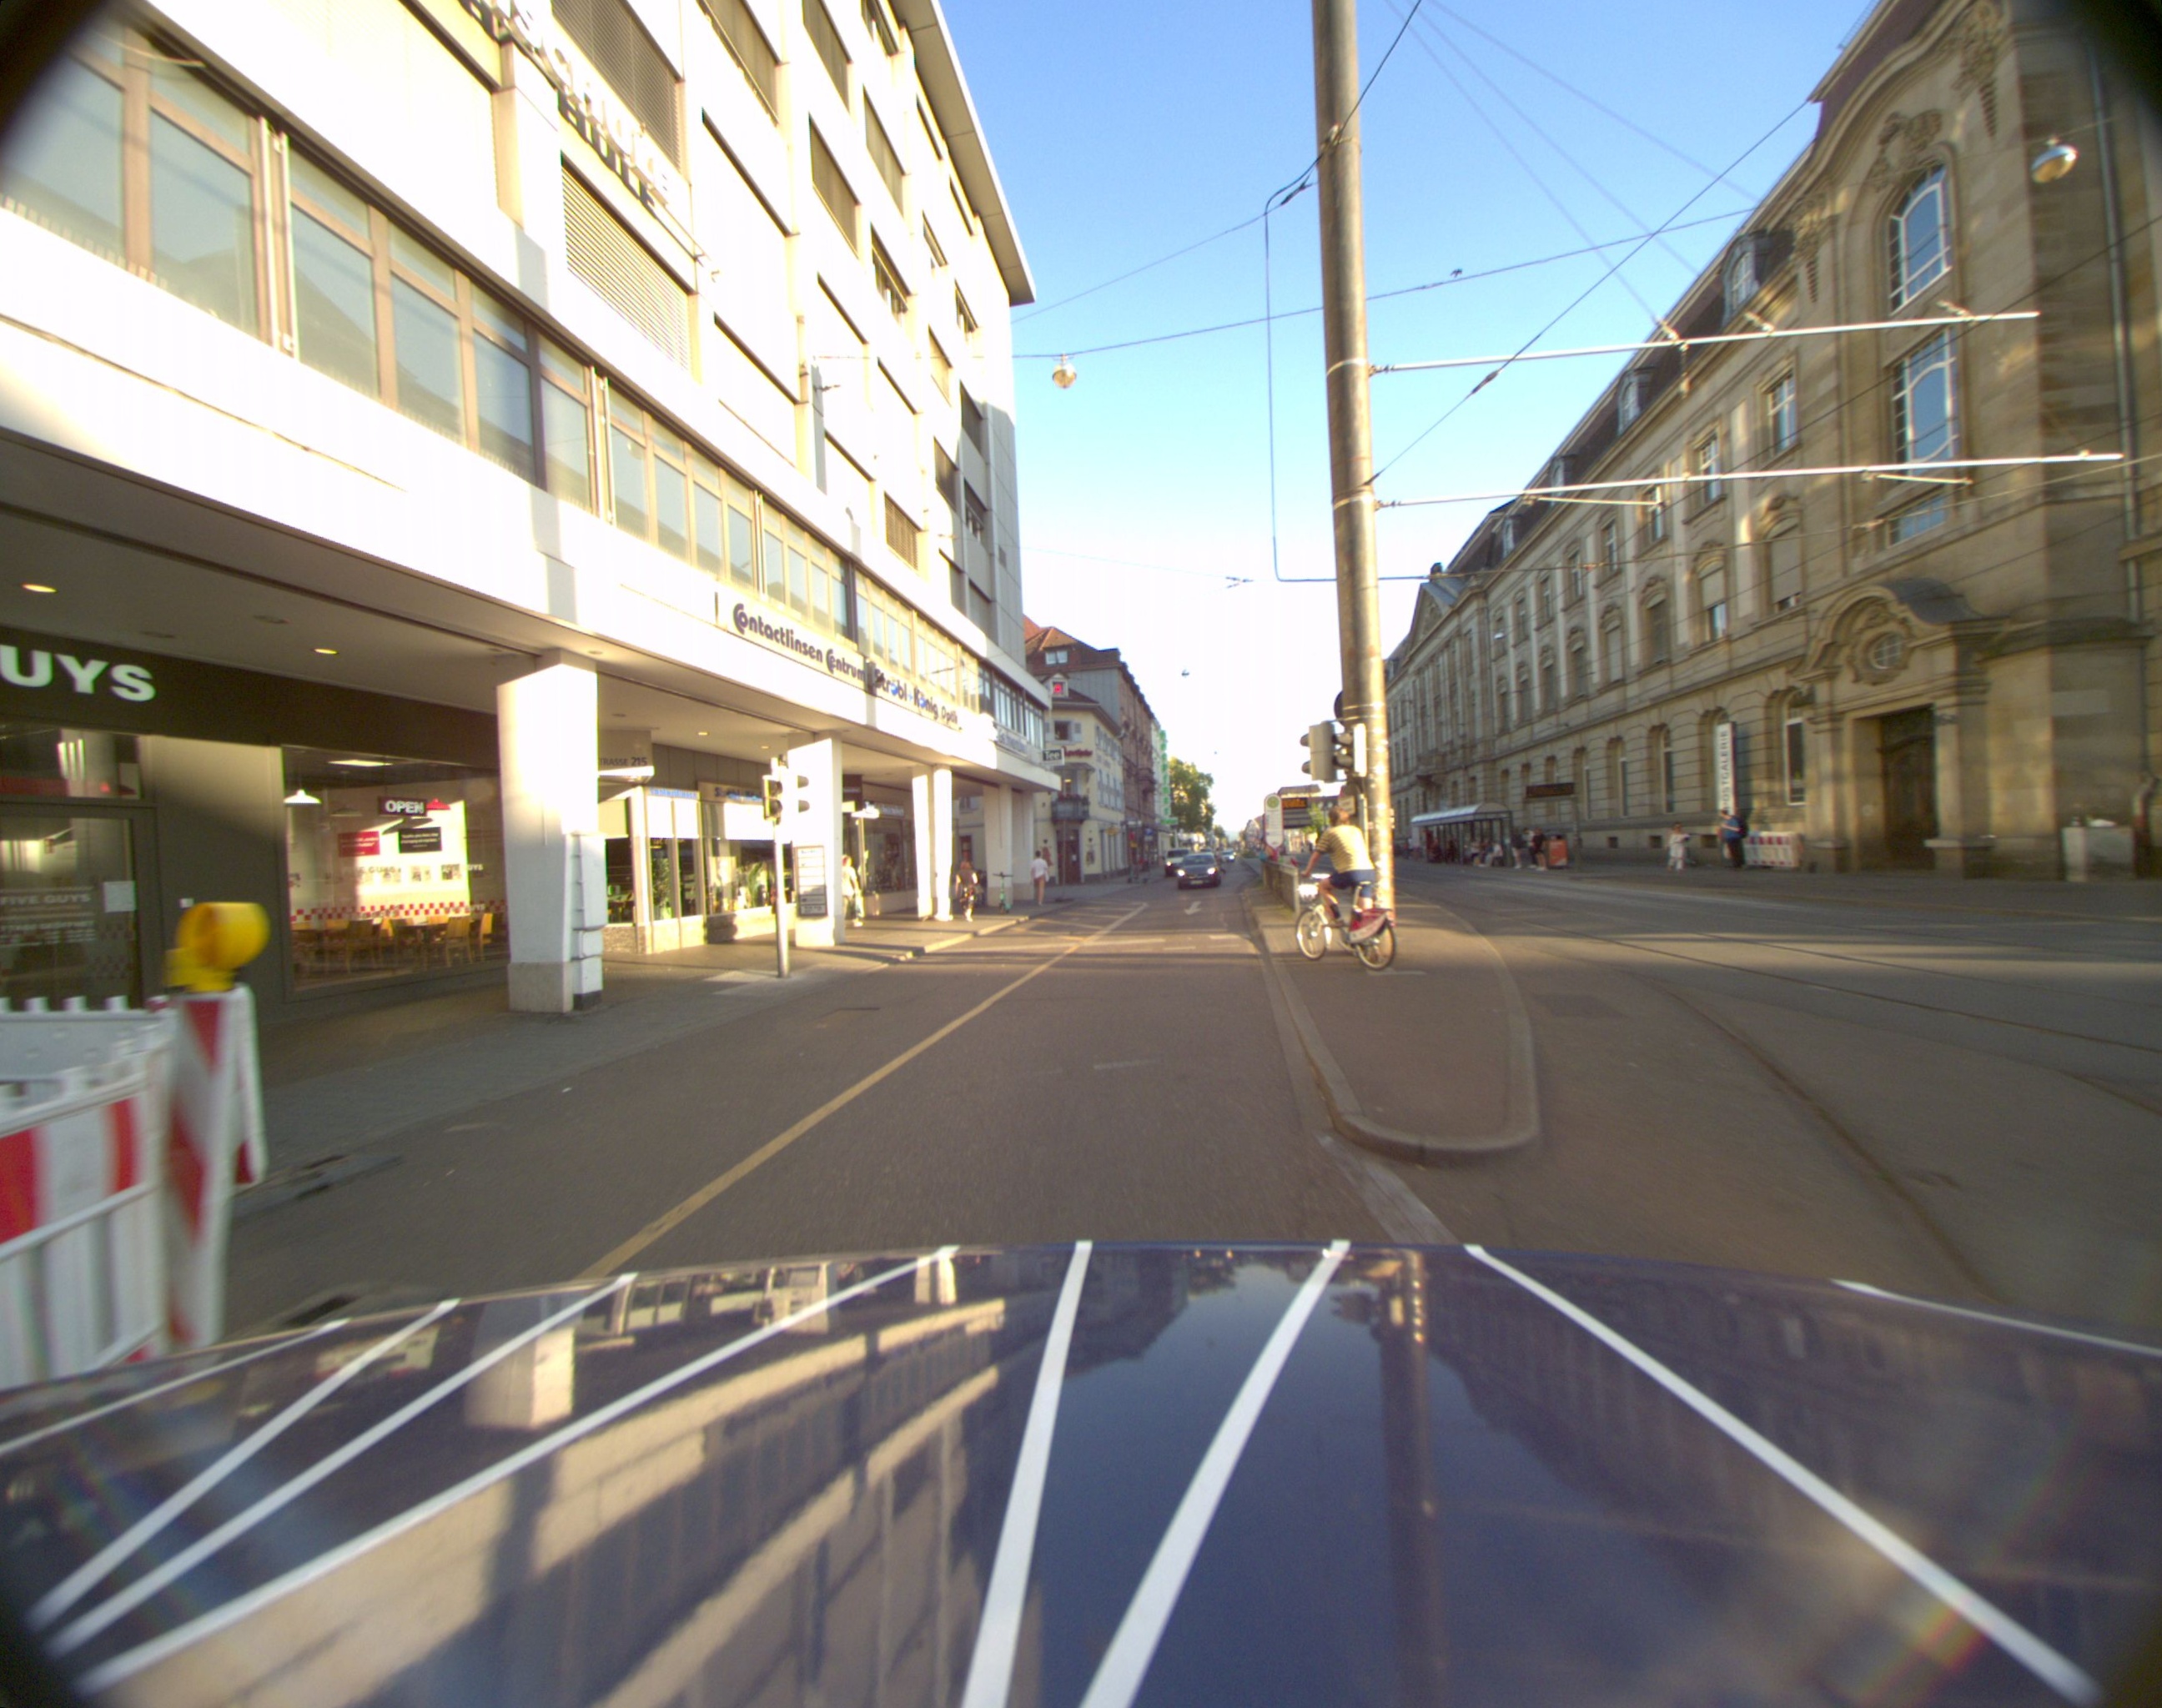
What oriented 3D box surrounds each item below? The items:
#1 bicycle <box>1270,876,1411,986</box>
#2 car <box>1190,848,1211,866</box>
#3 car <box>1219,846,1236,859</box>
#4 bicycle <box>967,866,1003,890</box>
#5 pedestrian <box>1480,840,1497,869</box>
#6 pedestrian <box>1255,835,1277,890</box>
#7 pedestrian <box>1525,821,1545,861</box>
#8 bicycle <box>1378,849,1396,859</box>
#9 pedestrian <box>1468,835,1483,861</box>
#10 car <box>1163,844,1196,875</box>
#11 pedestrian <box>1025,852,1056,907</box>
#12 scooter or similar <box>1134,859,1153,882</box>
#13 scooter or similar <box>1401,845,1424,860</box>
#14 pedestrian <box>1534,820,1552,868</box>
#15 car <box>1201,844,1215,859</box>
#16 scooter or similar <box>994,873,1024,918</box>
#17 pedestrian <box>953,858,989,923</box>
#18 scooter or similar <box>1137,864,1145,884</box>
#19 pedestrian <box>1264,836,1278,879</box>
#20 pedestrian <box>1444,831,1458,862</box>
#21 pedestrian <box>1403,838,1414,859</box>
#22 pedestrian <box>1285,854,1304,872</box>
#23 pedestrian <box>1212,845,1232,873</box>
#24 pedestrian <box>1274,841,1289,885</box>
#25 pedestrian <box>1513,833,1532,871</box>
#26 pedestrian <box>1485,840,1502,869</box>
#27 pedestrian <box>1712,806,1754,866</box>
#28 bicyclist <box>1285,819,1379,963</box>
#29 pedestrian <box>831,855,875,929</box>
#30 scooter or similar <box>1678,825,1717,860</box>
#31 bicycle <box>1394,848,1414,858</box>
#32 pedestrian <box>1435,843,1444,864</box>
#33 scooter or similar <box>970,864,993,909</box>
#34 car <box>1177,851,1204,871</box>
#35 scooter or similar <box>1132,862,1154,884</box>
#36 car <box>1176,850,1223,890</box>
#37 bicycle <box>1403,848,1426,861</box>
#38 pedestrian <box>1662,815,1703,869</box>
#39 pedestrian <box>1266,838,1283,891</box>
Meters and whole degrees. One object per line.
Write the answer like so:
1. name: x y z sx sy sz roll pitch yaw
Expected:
1. bicycle: 2.988 0.840 8.923 0.630 1.097 1.622 -3 1 -22
2. car: 11.712 0.275 74.470 1.735 1.502 4.868 -5 0 11
3. car: 18.099 -0.200 93.849 1.809 1.474 4.287 -5 -1 11
4. bicycle: -5.362 1.333 42.555 0.770 1.174 1.850 -4 0 42
5. pedestrian: 19.303 0.015 35.976 0.518 1.320 0.638 -3 1 15
6. pedestrian: 6.111 0.272 25.089 0.540 1.757 0.595 -4 1 16
7. pedestrian: 19.401 -0.553 32.489 0.518 1.636 0.638 -3 1 15
8. bicycle: 30.222 -0.024 75.087 1.578 0.868 0.451 -4 0 16
9. pedestrian: 20.249 -0.302 38.989 0.518 1.320 0.638 -3 1 15
10. car: 7.034 0.358 54.001 1.880 1.912 4.703 -5 0 11
11. pedestrian: -1.386 0.863 26.191 0.700 1.805 0.853 -4 0 18
12. scooter or similar: 3.547 0.935 42.945 1.049 1.227 0.272 -2 1 -21
13. scooter or similar: 27.017 -0.139 61.936 1.549 1.062 0.451 -4 1 16
14. pedestrian: 17.704 -0.385 29.113 0.467 1.766 0.562 -3 0 37
15. car: 18.564 -0.373 111.001 1.855 2.055 5.219 -2 0 11
16. scooter or similar: -2.088 1.198 22.159 0.506 1.227 1.180 -3 0 11
17. pedestrian: -2.955 0.967 20.330 0.702 1.683 0.540 -4 1 -28
18. scooter or similar: 3.698 1.225 46.858 0.272 1.227 1.309 -1 1 15
19. pedestrian: 7.902 0.136 31.634 0.413 1.757 0.595 -4 1 9
20. pedestrian: 20.202 -0.417 41.463 0.518 1.641 0.639 -3 1 33
21. pedestrian: 24.858 -0.412 57.636 0.573 1.596 0.439 -5 1 -42
22. pedestrian: 11.994 0.508 42.684 0.798 0.933 0.694 -3 0 34
23. pedestrian: 8.577 0.293 46.287 0.970 1.619 0.692 -3 0 22
24. pedestrian: 7.568 0.323 28.756 0.386 1.632 0.550 -4 1 9
25. pedestrian: 18.732 -0.087 32.242 0.518 1.560 0.638 -3 1 15
26. pedestrian: 19.061 0.032 35.136 0.518 1.320 0.638 -3 1 15
27. pedestrian: 19.844 -0.549 23.137 0.621 1.766 0.706 -3 0 8
28. bicyclist: 2.938 0.414 8.931 0.611 1.584 0.790 -3 1 -23
29. pedestrian: -5.794 0.962 19.347 0.700 1.805 0.631 -4 0 24
30. scooter or similar: 21.429 -0.407 26.426 0.487 1.175 1.294 -4 0 13
31. bicycle: 29.357 -0.092 69.125 1.578 0.868 0.451 -4 0 16
32. pedestrian: 21.087 -0.046 44.656 0.365 1.193 0.430 -4 1 17
33. scooter or similar: -3.443 1.100 26.257 0.314 1.480 1.316 -3 0 11
34. car: 9.042 0.571 62.342 1.809 1.474 4.782 -5 -1 11
35. scooter or similar: 3.438 1.050 42.257 1.176 1.227 0.317 -1 1 27
36. car: 5.203 0.638 33.108 1.737 1.494 4.003 -4 0 11
37. bicycle: 26.343 0.052 60.044 1.578 0.868 0.451 -4 0 16
38. pedestrian: 18.693 -0.373 23.633 0.700 1.605 0.631 -4 0 10
39. pedestrian: 6.078 0.329 23.840 0.357 1.632 0.503 -4 1 9
